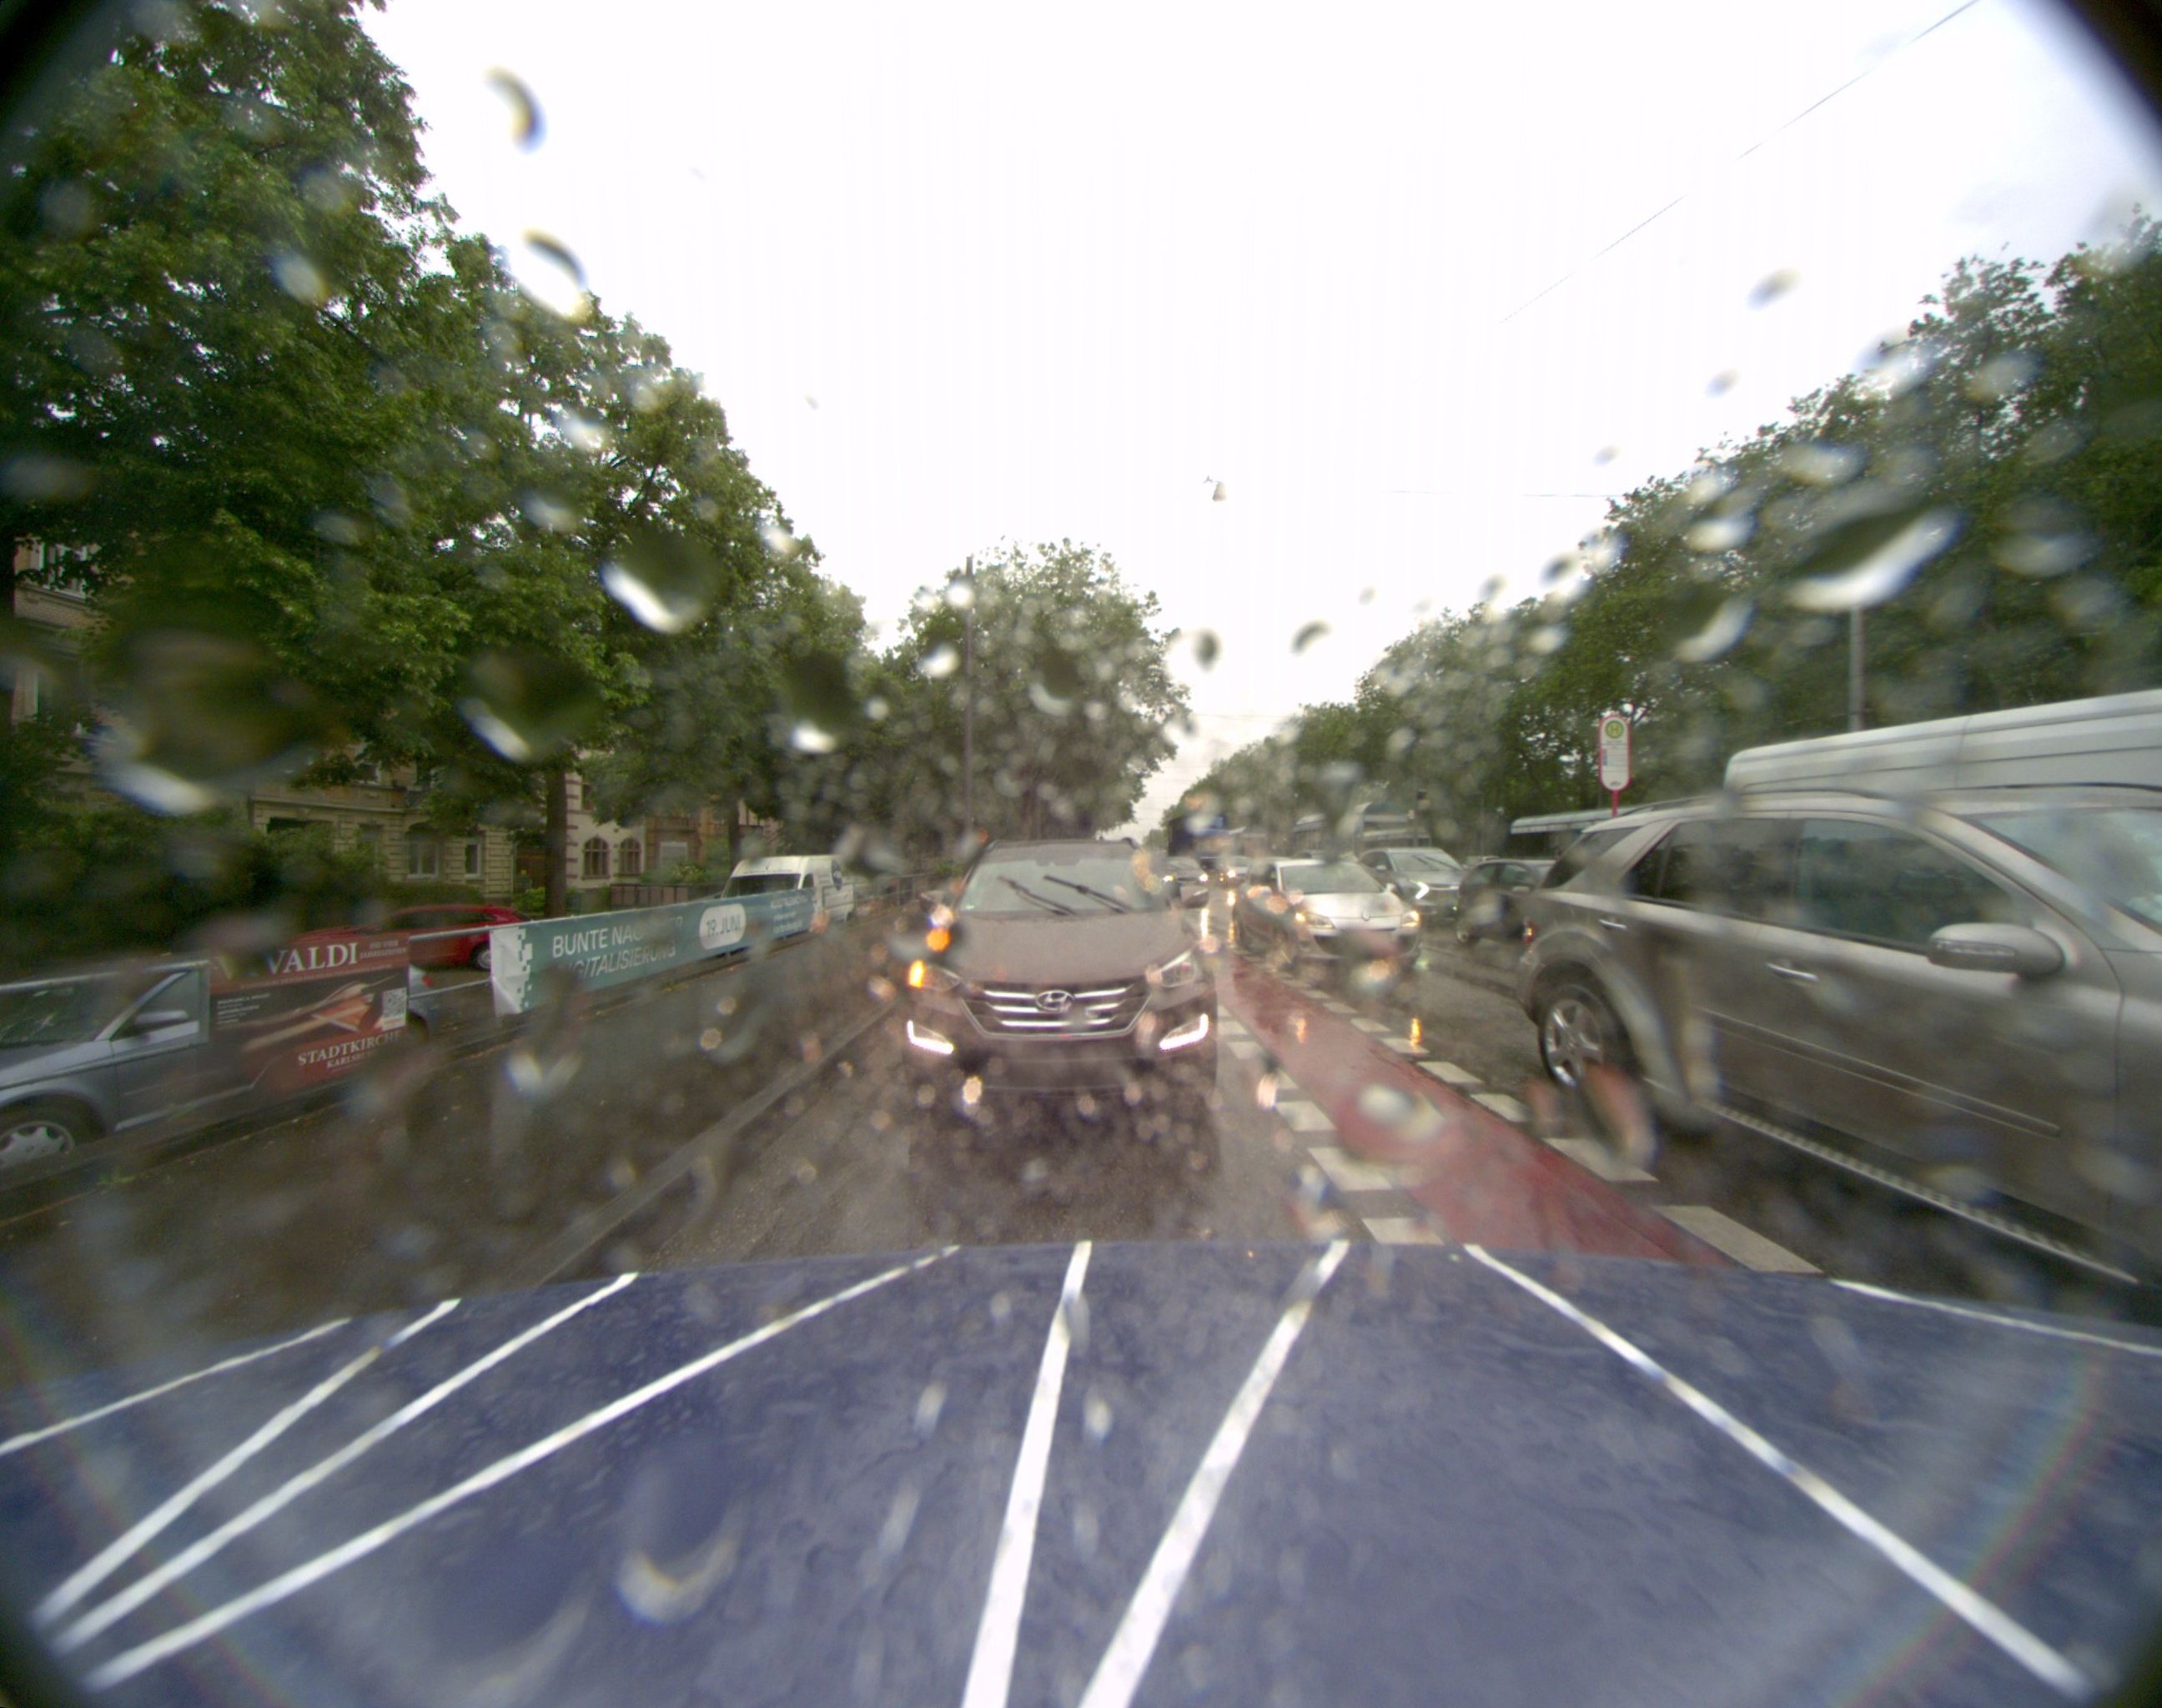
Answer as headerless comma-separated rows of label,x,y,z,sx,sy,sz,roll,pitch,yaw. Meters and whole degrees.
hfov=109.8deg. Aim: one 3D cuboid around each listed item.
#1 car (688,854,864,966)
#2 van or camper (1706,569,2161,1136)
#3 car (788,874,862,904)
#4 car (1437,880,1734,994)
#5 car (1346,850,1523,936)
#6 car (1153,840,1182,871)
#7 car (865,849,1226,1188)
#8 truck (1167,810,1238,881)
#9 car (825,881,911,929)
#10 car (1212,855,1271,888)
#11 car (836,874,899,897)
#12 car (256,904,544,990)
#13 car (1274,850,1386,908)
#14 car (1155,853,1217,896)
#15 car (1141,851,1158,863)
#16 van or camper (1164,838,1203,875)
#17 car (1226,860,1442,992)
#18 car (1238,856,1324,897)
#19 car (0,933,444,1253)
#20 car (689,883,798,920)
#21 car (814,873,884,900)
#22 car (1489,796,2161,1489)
car,-7.700,1.250,20.084,2.214,2.406,6.157,-3,0,-2
van or camper,7.041,-0.011,4.273,2.164,3.123,5.850,0,0,-1
car,-15.716,2.123,46.654,4.006,1.599,1.821,-2,1,-31
car,6.750,1.019,10.758,1.467,1.111,4.087,-2,0,0
car,7.432,0.730,16.549,1.919,1.614,4.454,0,0,2
car,7.473,0.105,65.893,1.998,2.412,5.727,-2,0,3
car,-0.113,0.821,5.631,1.756,1.657,3.678,-2,0,2
truck,7.217,-0.487,46.458,2.545,3.866,9.810,1,0,-1
car,-7.497,1.757,27.201,1.972,1.345,4.383,-3,0,-3
car,7.592,0.795,36.357,1.895,1.478,4.077,-1,0,-1
car,-15.533,2.241,55.346,4.007,1.455,1.908,-2,1,-34
car,-14.622,1.937,16.730,4.439,1.444,1.894,0,-1,-32
car,7.572,0.687,23.571,1.999,1.611,4.319,-1,0,-1
car,4.085,0.756,30.118,1.899,1.569,3.999,0,0,0
car,7.365,0.307,81.582,1.467,1.185,3.615,-2,0,0
van or camper,7.633,0.182,57.098,1.998,2.555,6.431,-2,0,0
car,3.412,0.877,11.091,1.772,1.469,4.000,-2,0,0
car,7.530,0.789,29.049,1.999,1.386,4.606,0,0,-1
car,-7.230,1.592,5.530,1.736,1.530,4.074,-2,0,-1
car,-14.854,2.052,33.490,4.269,1.372,1.687,-1,1,-27
car,-15.357,2.124,50.307,4.007,1.557,1.995,-2,1,-34
car,3.733,0.701,2.788,2.030,1.760,4.462,-2,0,0
